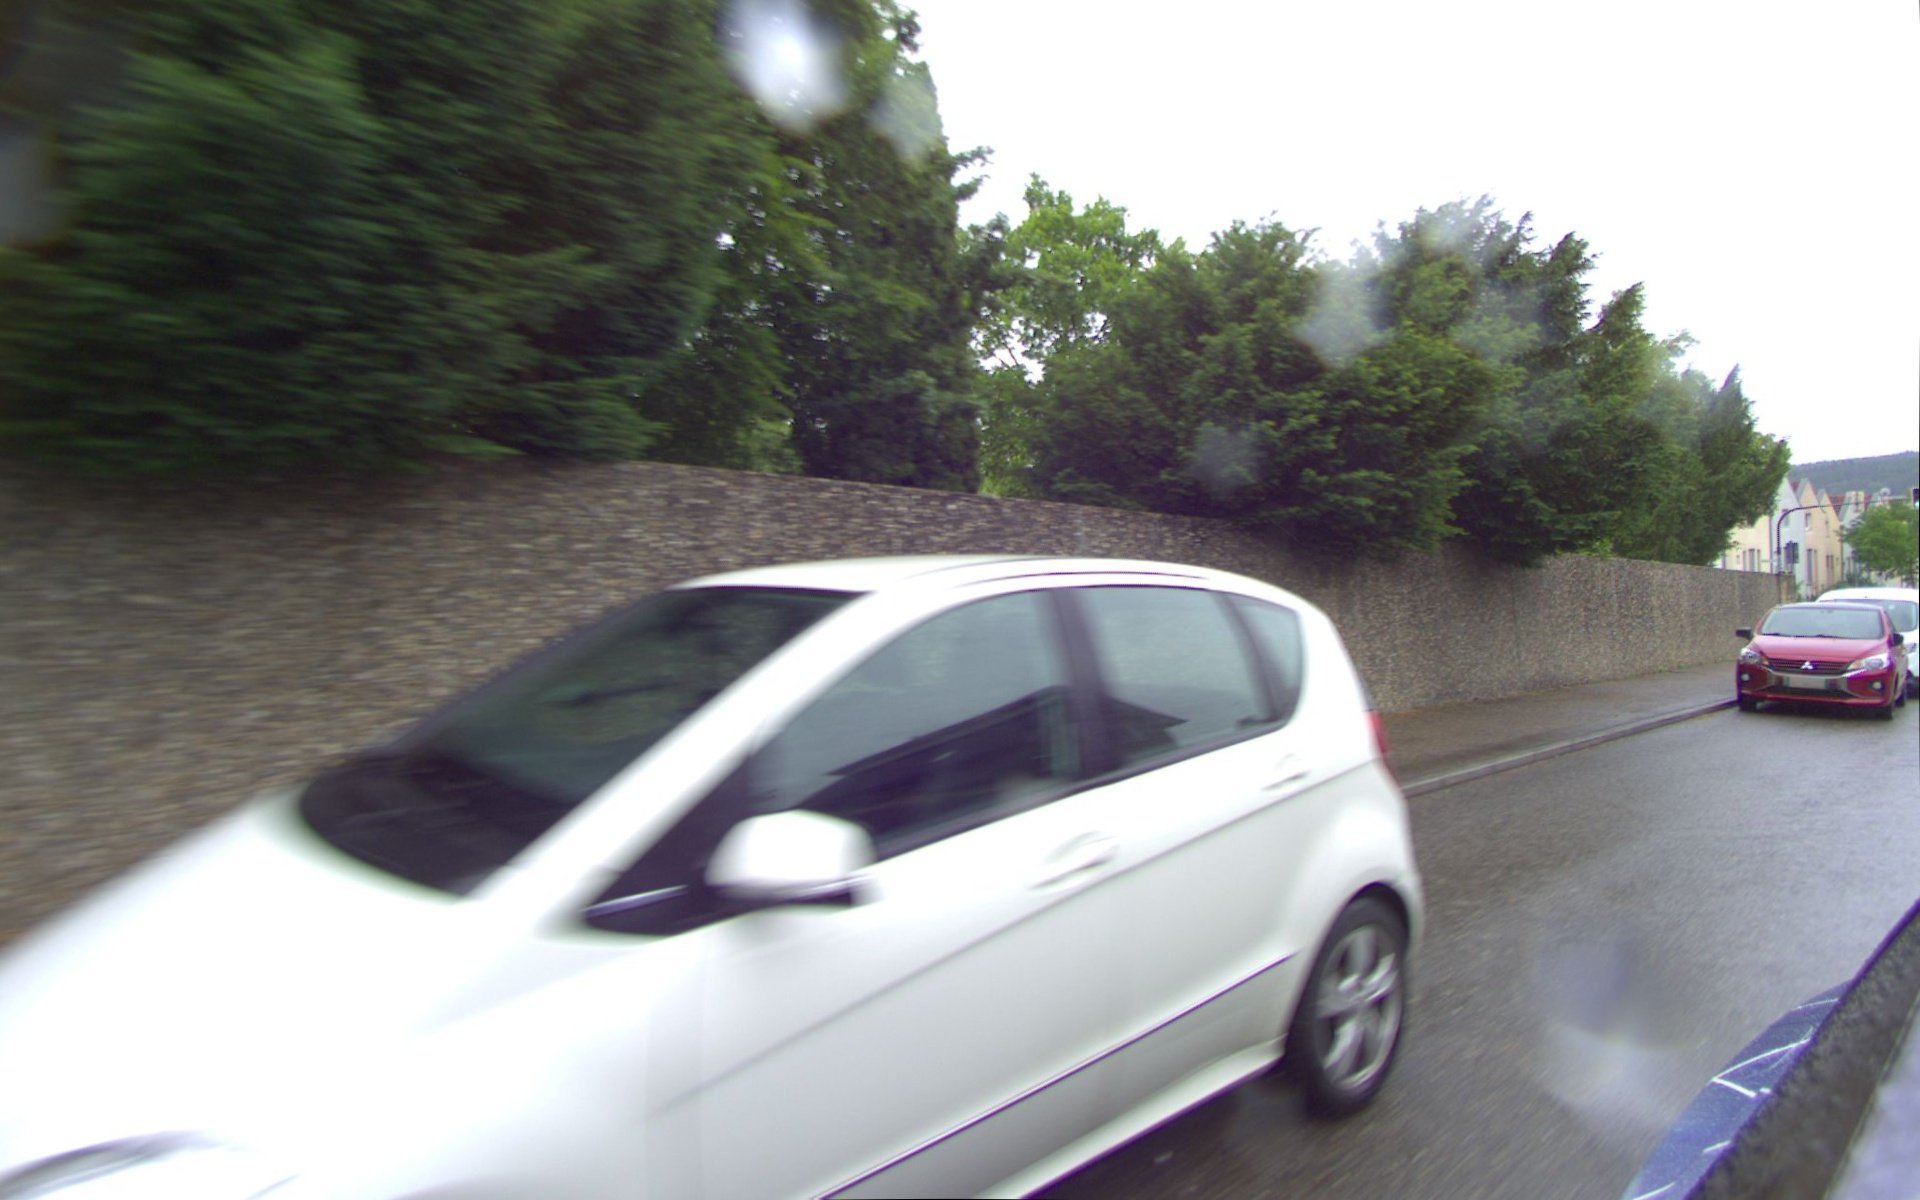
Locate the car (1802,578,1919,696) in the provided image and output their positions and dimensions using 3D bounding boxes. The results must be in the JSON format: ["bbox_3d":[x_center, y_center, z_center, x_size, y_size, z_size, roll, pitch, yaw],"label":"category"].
[{"bbox_3d":[15.770,0.536,17.158,4.064,1.763,1.640,-2,0,-41],"label":"car"}]

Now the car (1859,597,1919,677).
[{"bbox_3d":[20.056,0.719,20.944,3.931,1.480,1.648,-2,0,-41],"label":"car"}]

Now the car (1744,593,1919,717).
[{"bbox_3d":[12.281,0.680,14.123,3.603,1.473,1.585,1,1,-44],"label":"car"}]

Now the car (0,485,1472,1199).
[{"bbox_3d":[-0.388,0.651,2.741,3.811,1.593,1.818,-1,1,-40],"label":"car"}]

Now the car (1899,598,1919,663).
[{"bbox_3d":[23.927,0.703,24.403,3.970,1.499,1.613,0,0,-43],"label":"car"}]
